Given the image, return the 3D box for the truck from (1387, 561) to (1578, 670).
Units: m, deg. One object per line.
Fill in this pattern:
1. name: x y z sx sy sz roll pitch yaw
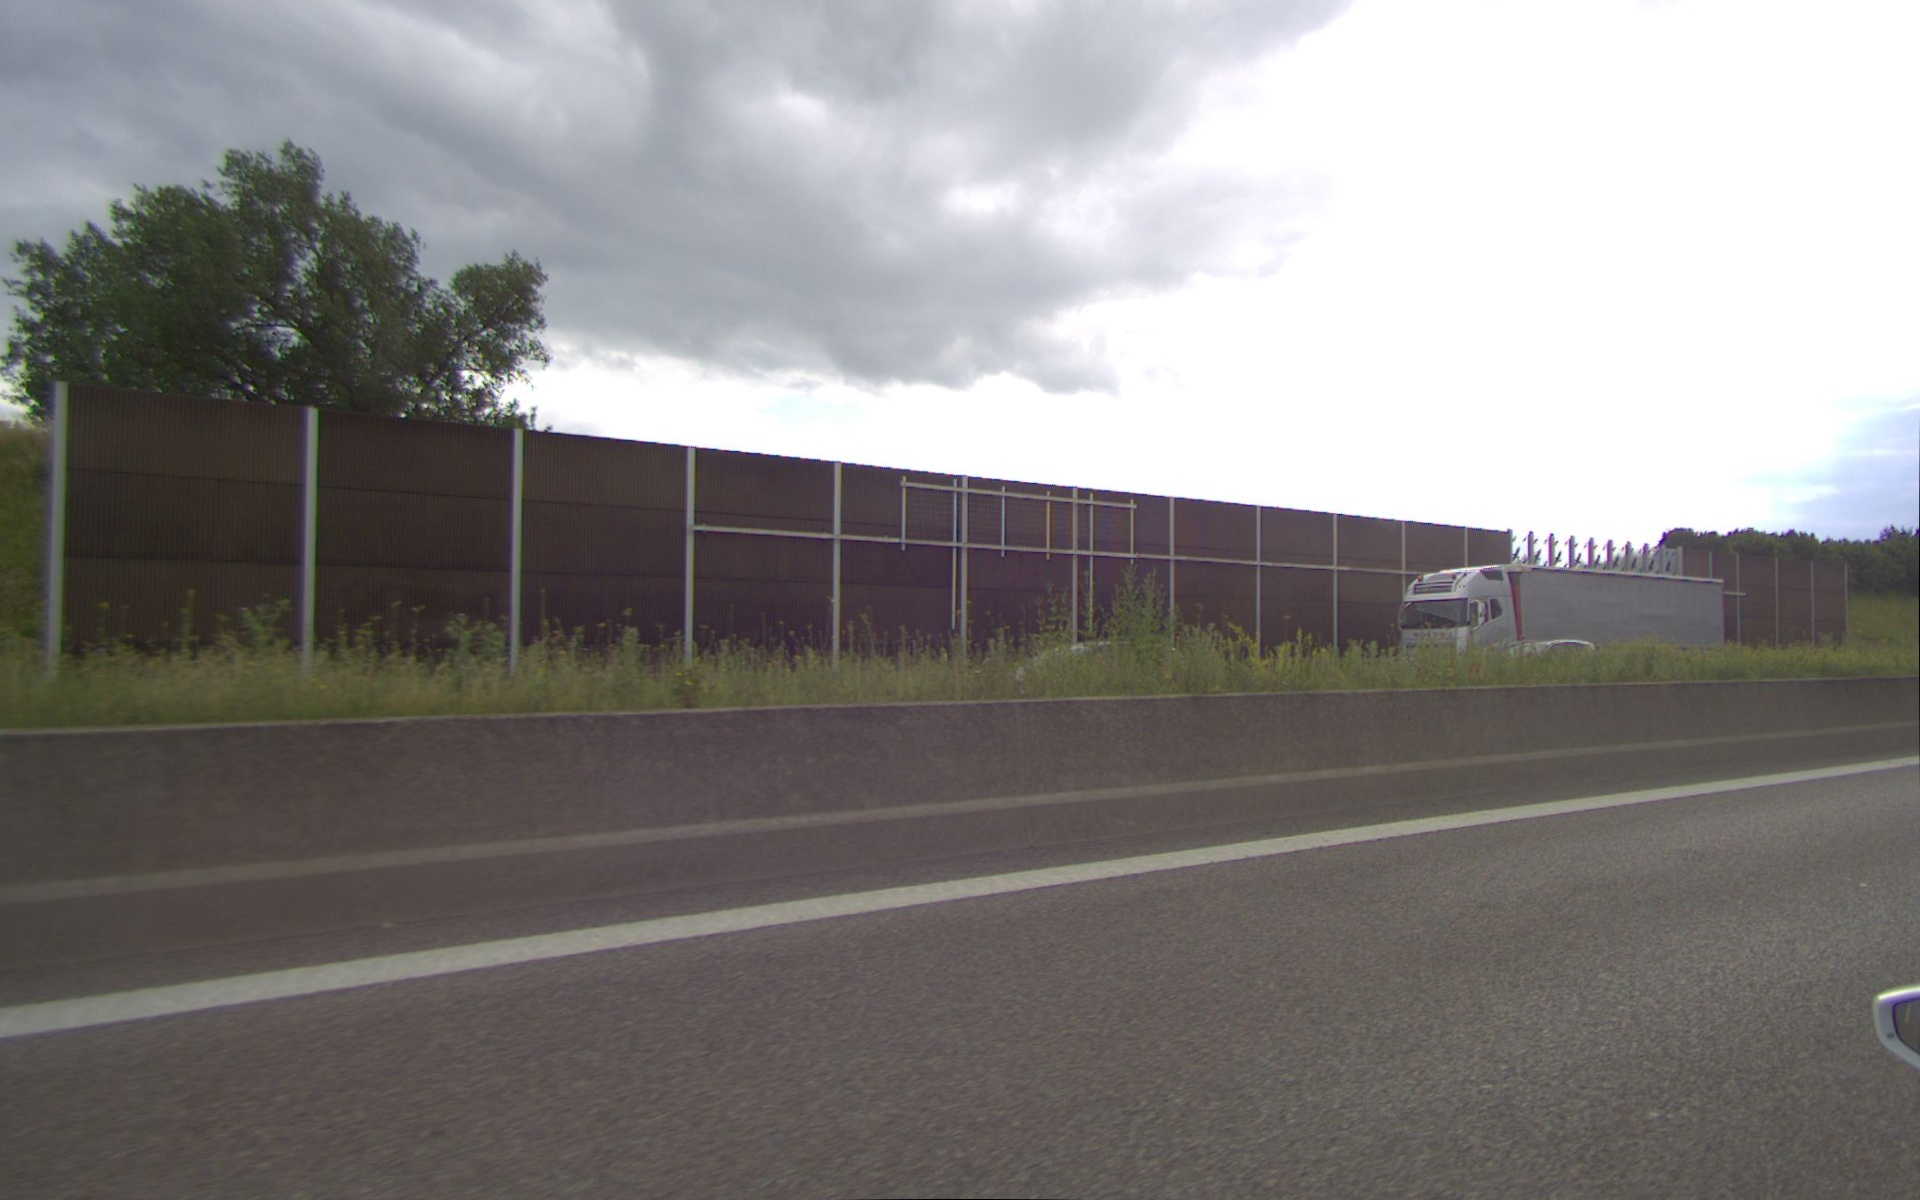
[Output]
1. truck: 17.024 0.563 32.681 5.910 3.270 2.811 2 -1 -30

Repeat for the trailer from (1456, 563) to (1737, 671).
1. trailer: 23.390 0.749 36.429 13.351 3.421 2.807 2 -2 -30
